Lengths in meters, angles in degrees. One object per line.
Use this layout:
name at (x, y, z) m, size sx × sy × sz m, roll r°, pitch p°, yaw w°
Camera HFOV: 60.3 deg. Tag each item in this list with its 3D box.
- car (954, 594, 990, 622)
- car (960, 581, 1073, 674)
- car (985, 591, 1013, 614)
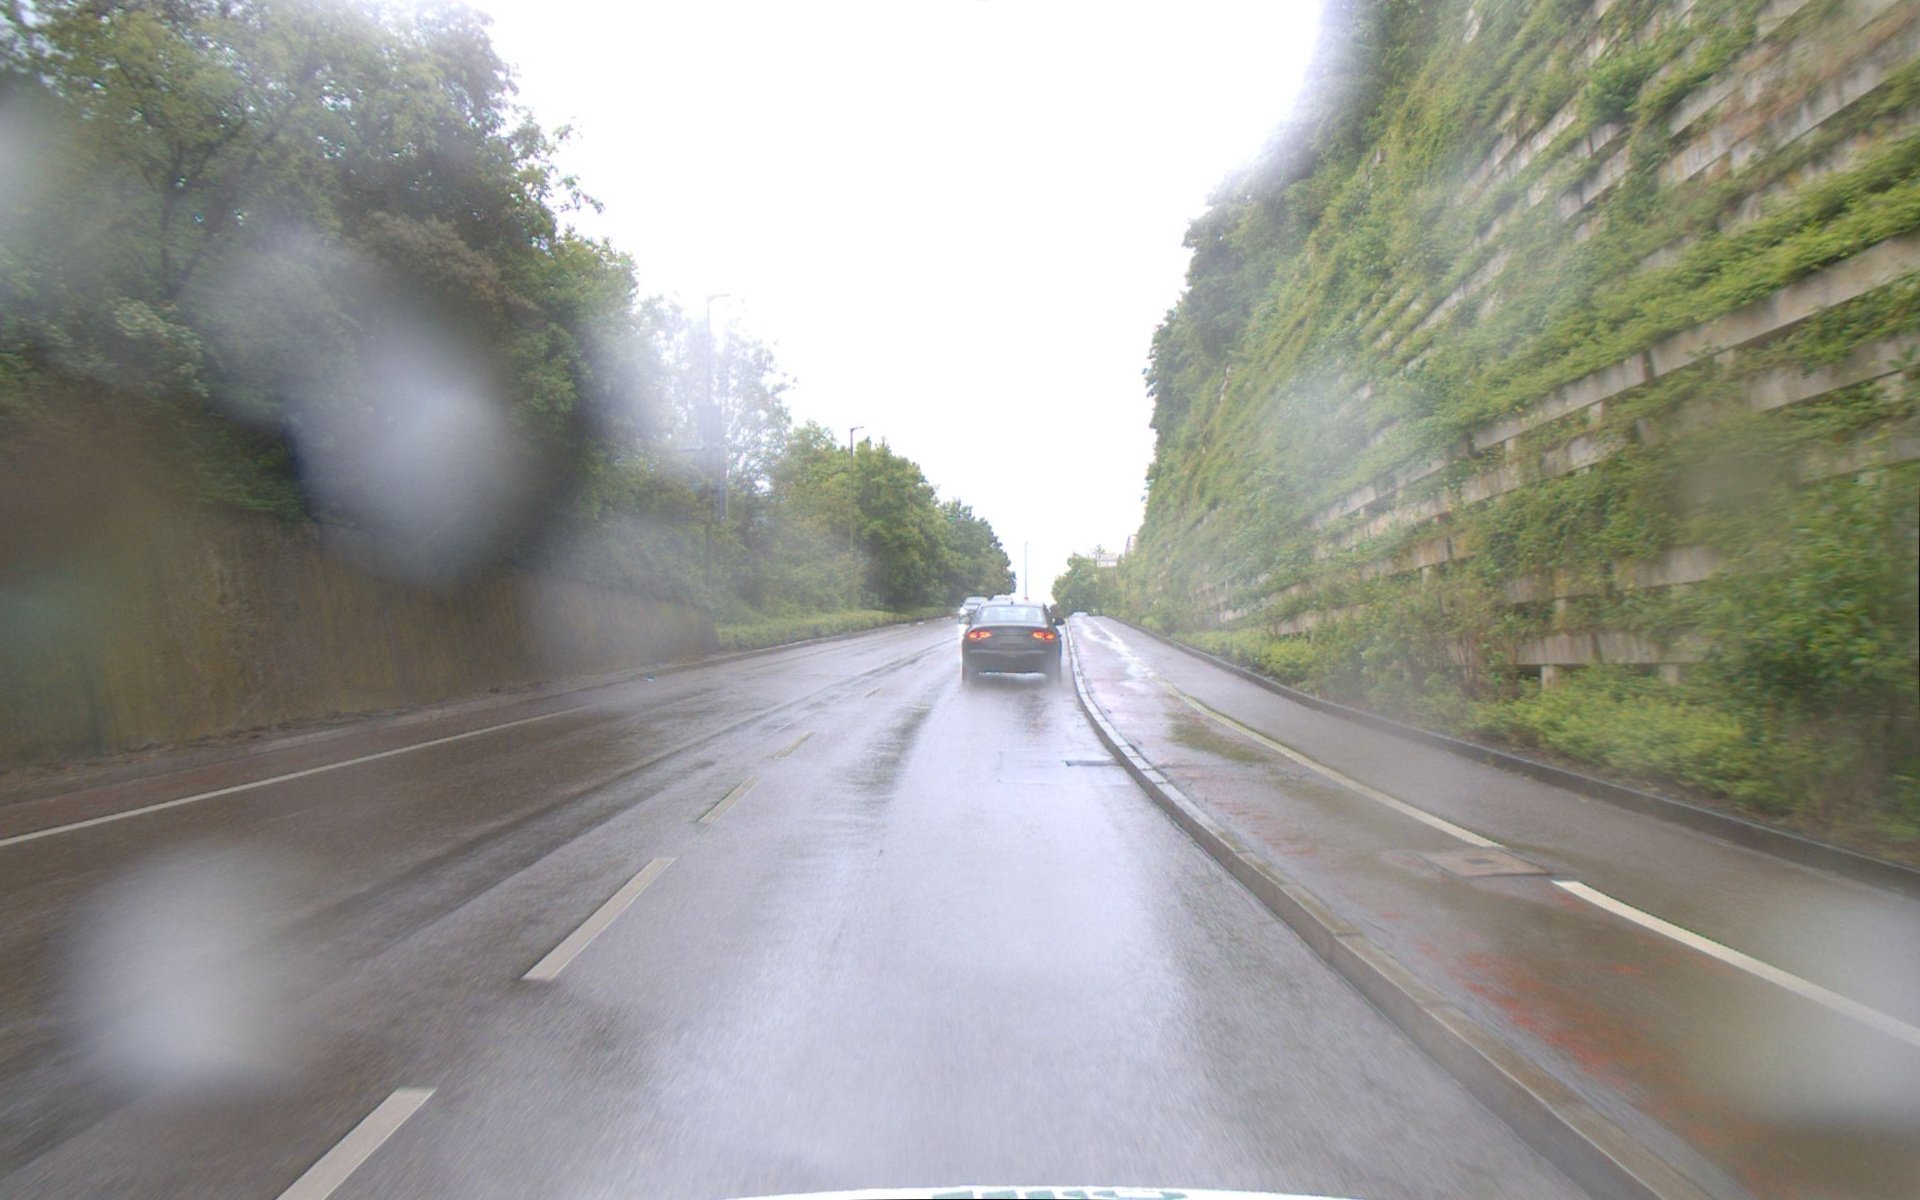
car at (0.681, 0.410, 91.615) m, size 1.826 × 1.474 × 4.378 m, roll -1°, pitch 0°, yaw 2°
car at (1.032, 0.497, 29.862) m, size 1.853 × 1.518 × 4.208 m, roll -1°, pitch -1°, yaw 2°
car at (2.815, 0.156, 118.700) m, size 1.785 × 1.643 × 4.095 m, roll 0°, pitch 0°, yaw 4°
